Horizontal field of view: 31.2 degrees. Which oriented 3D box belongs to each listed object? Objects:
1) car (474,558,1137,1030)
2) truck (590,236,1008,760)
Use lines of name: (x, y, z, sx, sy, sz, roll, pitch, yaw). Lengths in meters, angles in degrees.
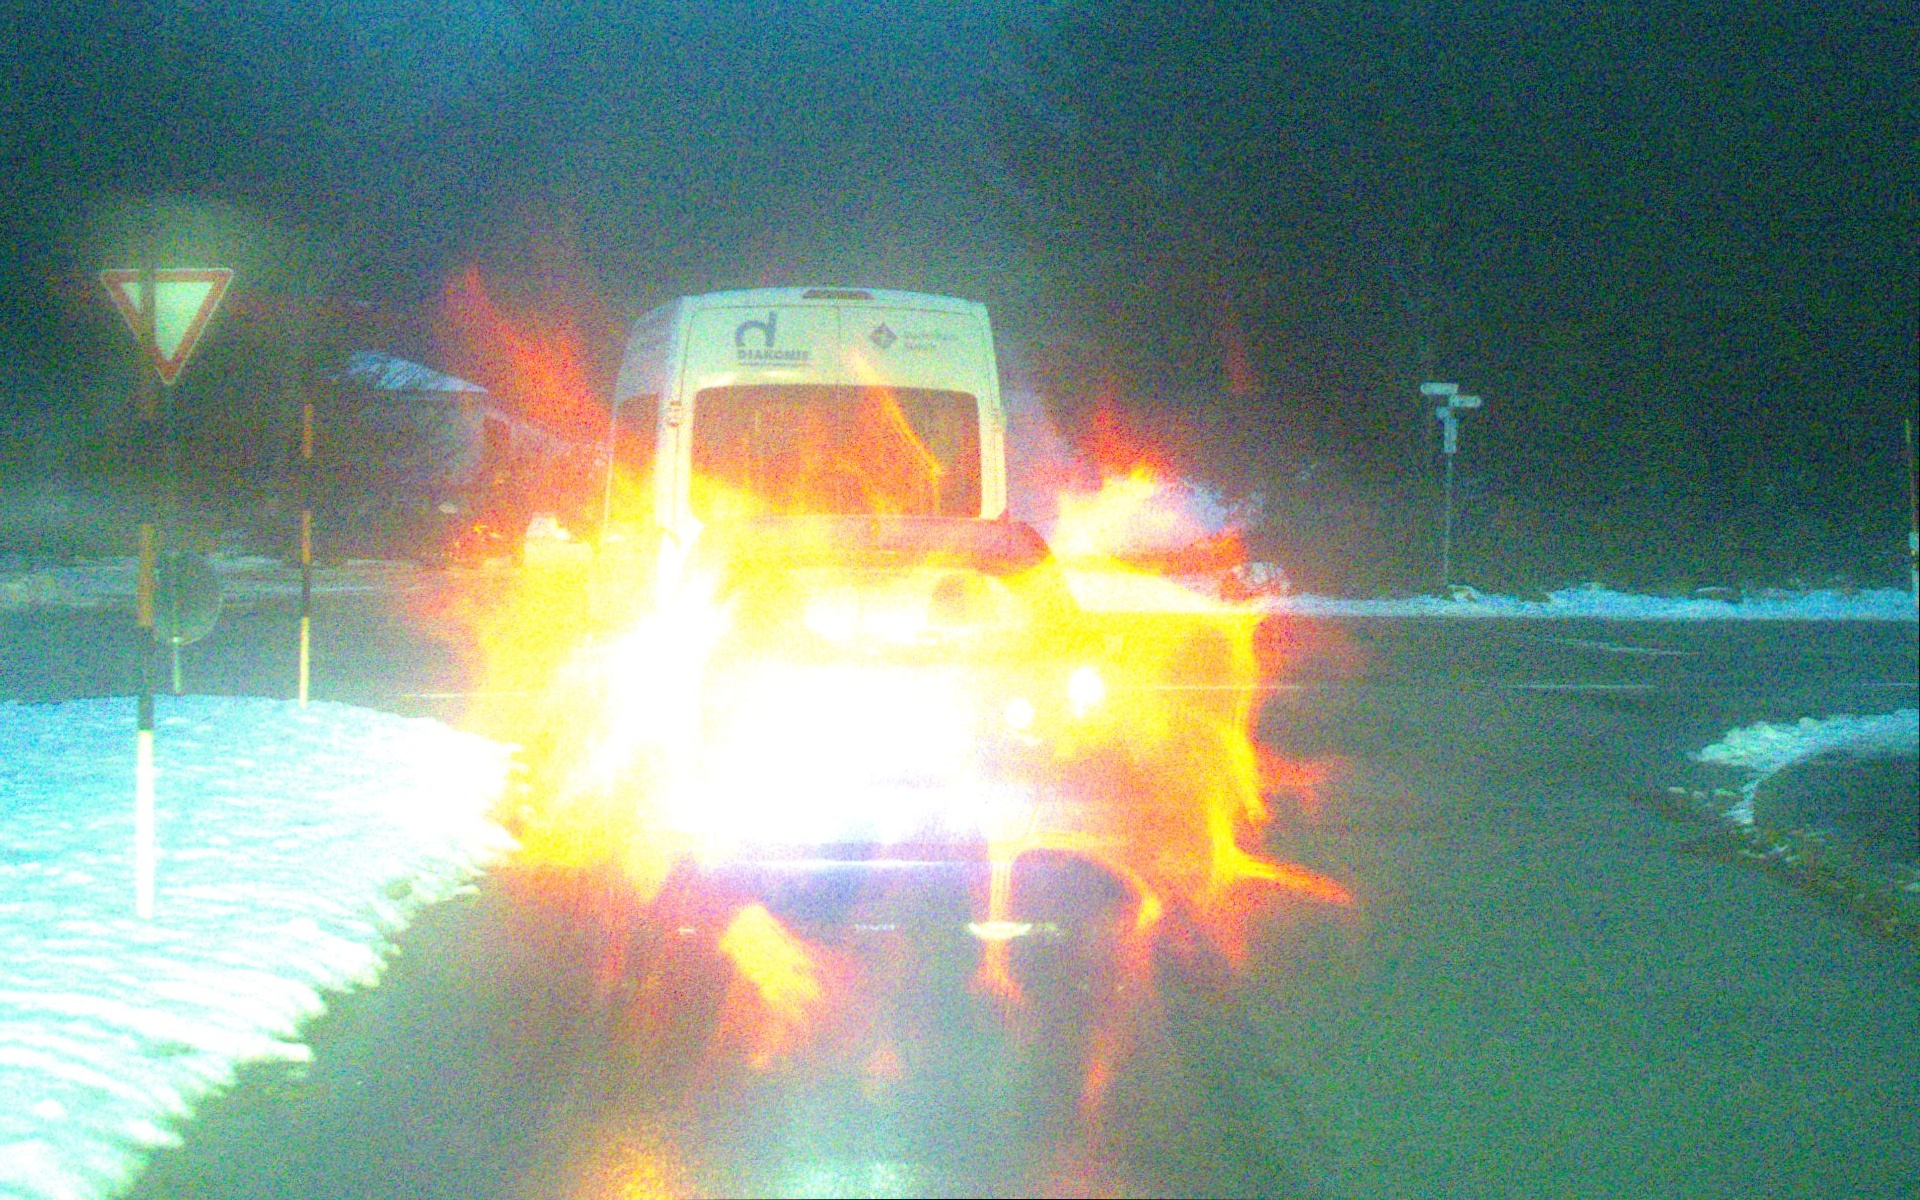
car: (-0.503, 0.548, 12.079, 1.922, 1.272, 4.001, 1, 2, -1)
truck: (-1.137, -0.572, 20.970, 2.075, 2.736, 5.320, 1, 1, -7)
